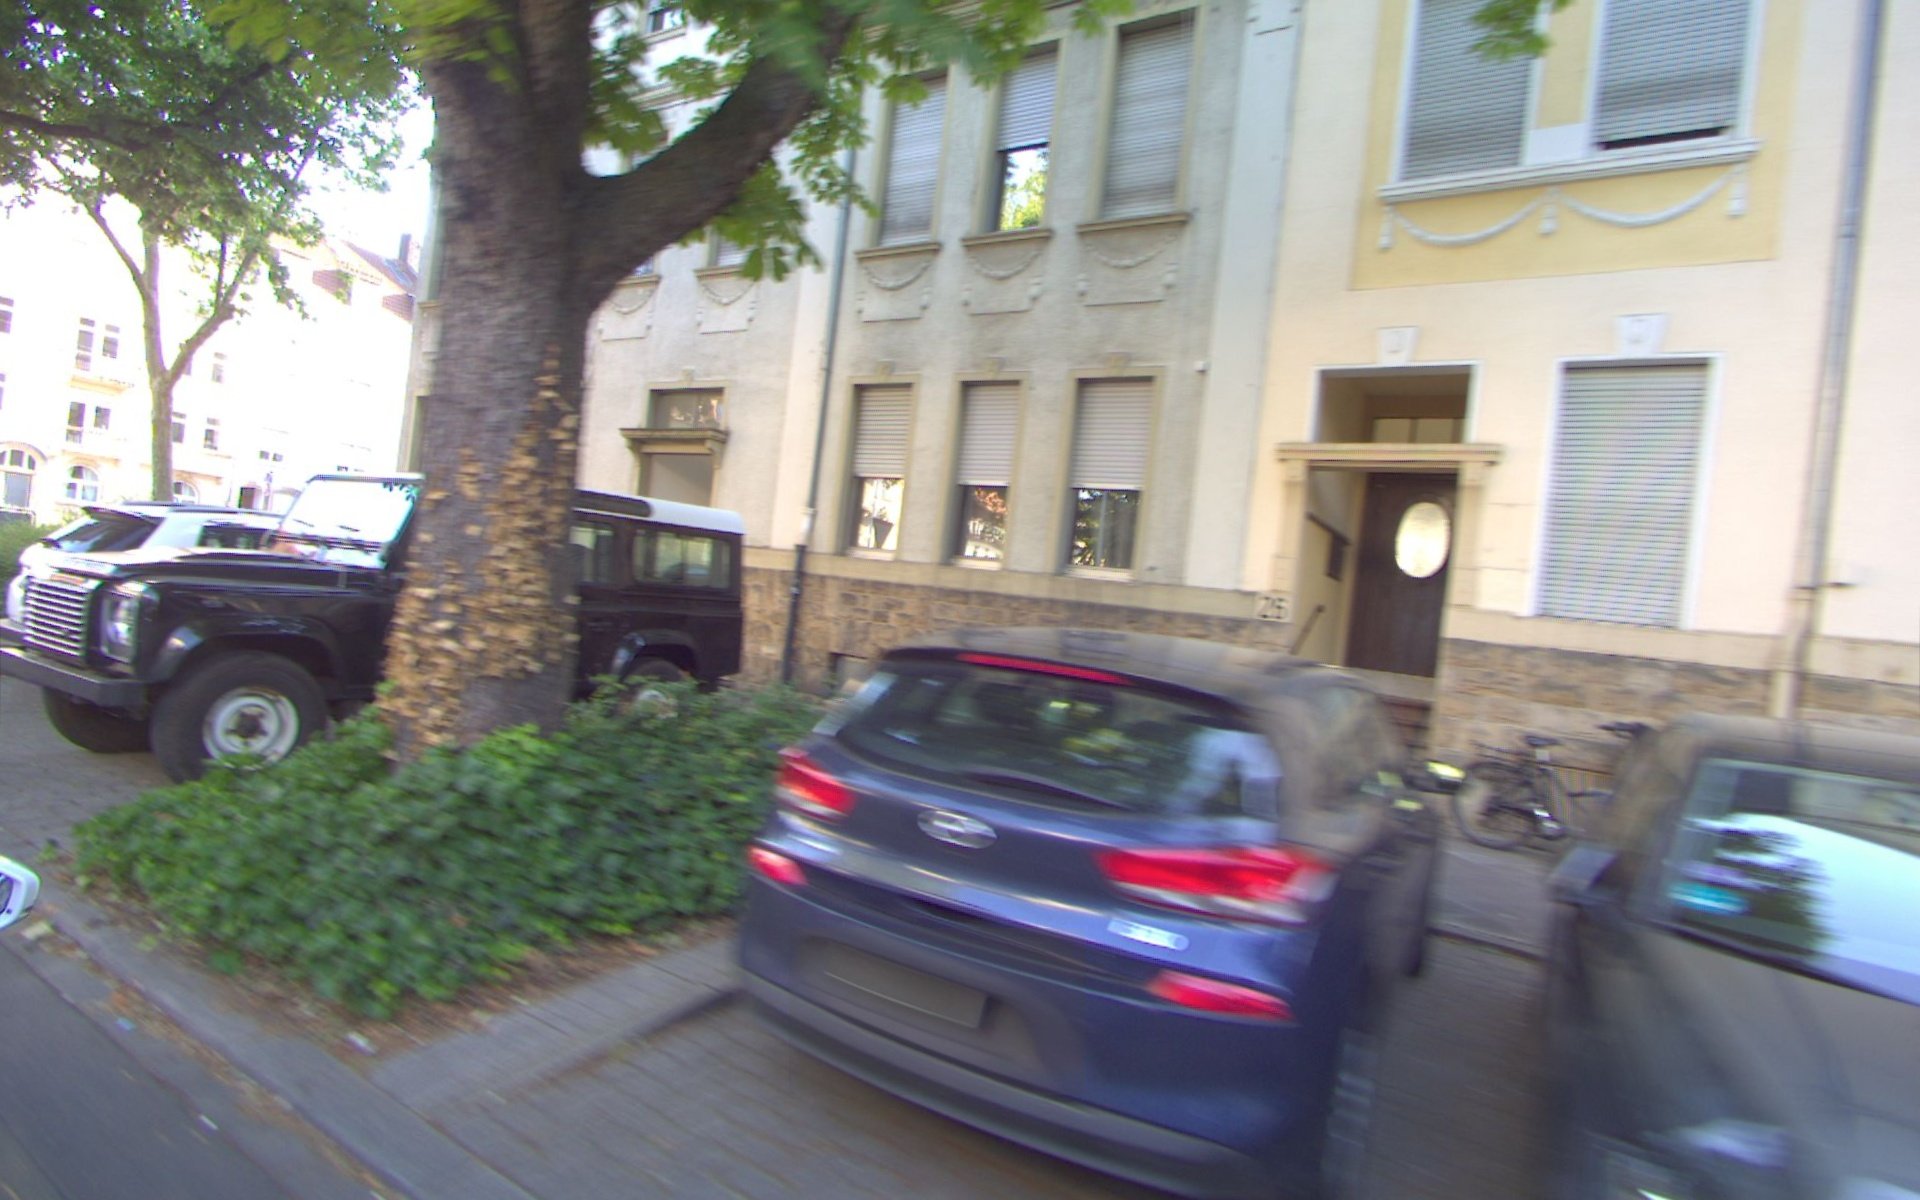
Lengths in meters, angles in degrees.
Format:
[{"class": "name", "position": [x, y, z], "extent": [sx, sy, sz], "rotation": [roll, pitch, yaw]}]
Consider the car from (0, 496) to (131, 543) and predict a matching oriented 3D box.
[{"class": "car", "position": [-31.581, -2.811, 35.433], "extent": [1.357, 1.081, 3.369], "rotation": [7, -1, 32]}]

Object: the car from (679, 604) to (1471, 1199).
[{"class": "car", "position": [0.921, 0.893, 3.936], "extent": [1.601, 1.440, 3.753], "rotation": [6, 0, 30]}]

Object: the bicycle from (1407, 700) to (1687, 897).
[{"class": "bicycle", "position": [4.388, 1.442, 7.620], "extent": [1.676, 1.090, 0.500], "rotation": [7, 2, 33]}]

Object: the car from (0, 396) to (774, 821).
[{"class": "car", "position": [-3.555, 0.064, 7.055], "extent": [1.763, 1.981, 4.495], "rotation": [7, 1, 30]}]

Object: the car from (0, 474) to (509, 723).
[{"class": "car", "position": [-5.974, 0.020, 8.579], "extent": [1.681, 1.606, 3.488], "rotation": [7, 0, 27]}]

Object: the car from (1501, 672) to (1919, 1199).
[{"class": "car", "position": [2.382, 1.022, 2.588], "extent": [1.601, 1.440, 4.053], "rotation": [6, 0, 30]}]
